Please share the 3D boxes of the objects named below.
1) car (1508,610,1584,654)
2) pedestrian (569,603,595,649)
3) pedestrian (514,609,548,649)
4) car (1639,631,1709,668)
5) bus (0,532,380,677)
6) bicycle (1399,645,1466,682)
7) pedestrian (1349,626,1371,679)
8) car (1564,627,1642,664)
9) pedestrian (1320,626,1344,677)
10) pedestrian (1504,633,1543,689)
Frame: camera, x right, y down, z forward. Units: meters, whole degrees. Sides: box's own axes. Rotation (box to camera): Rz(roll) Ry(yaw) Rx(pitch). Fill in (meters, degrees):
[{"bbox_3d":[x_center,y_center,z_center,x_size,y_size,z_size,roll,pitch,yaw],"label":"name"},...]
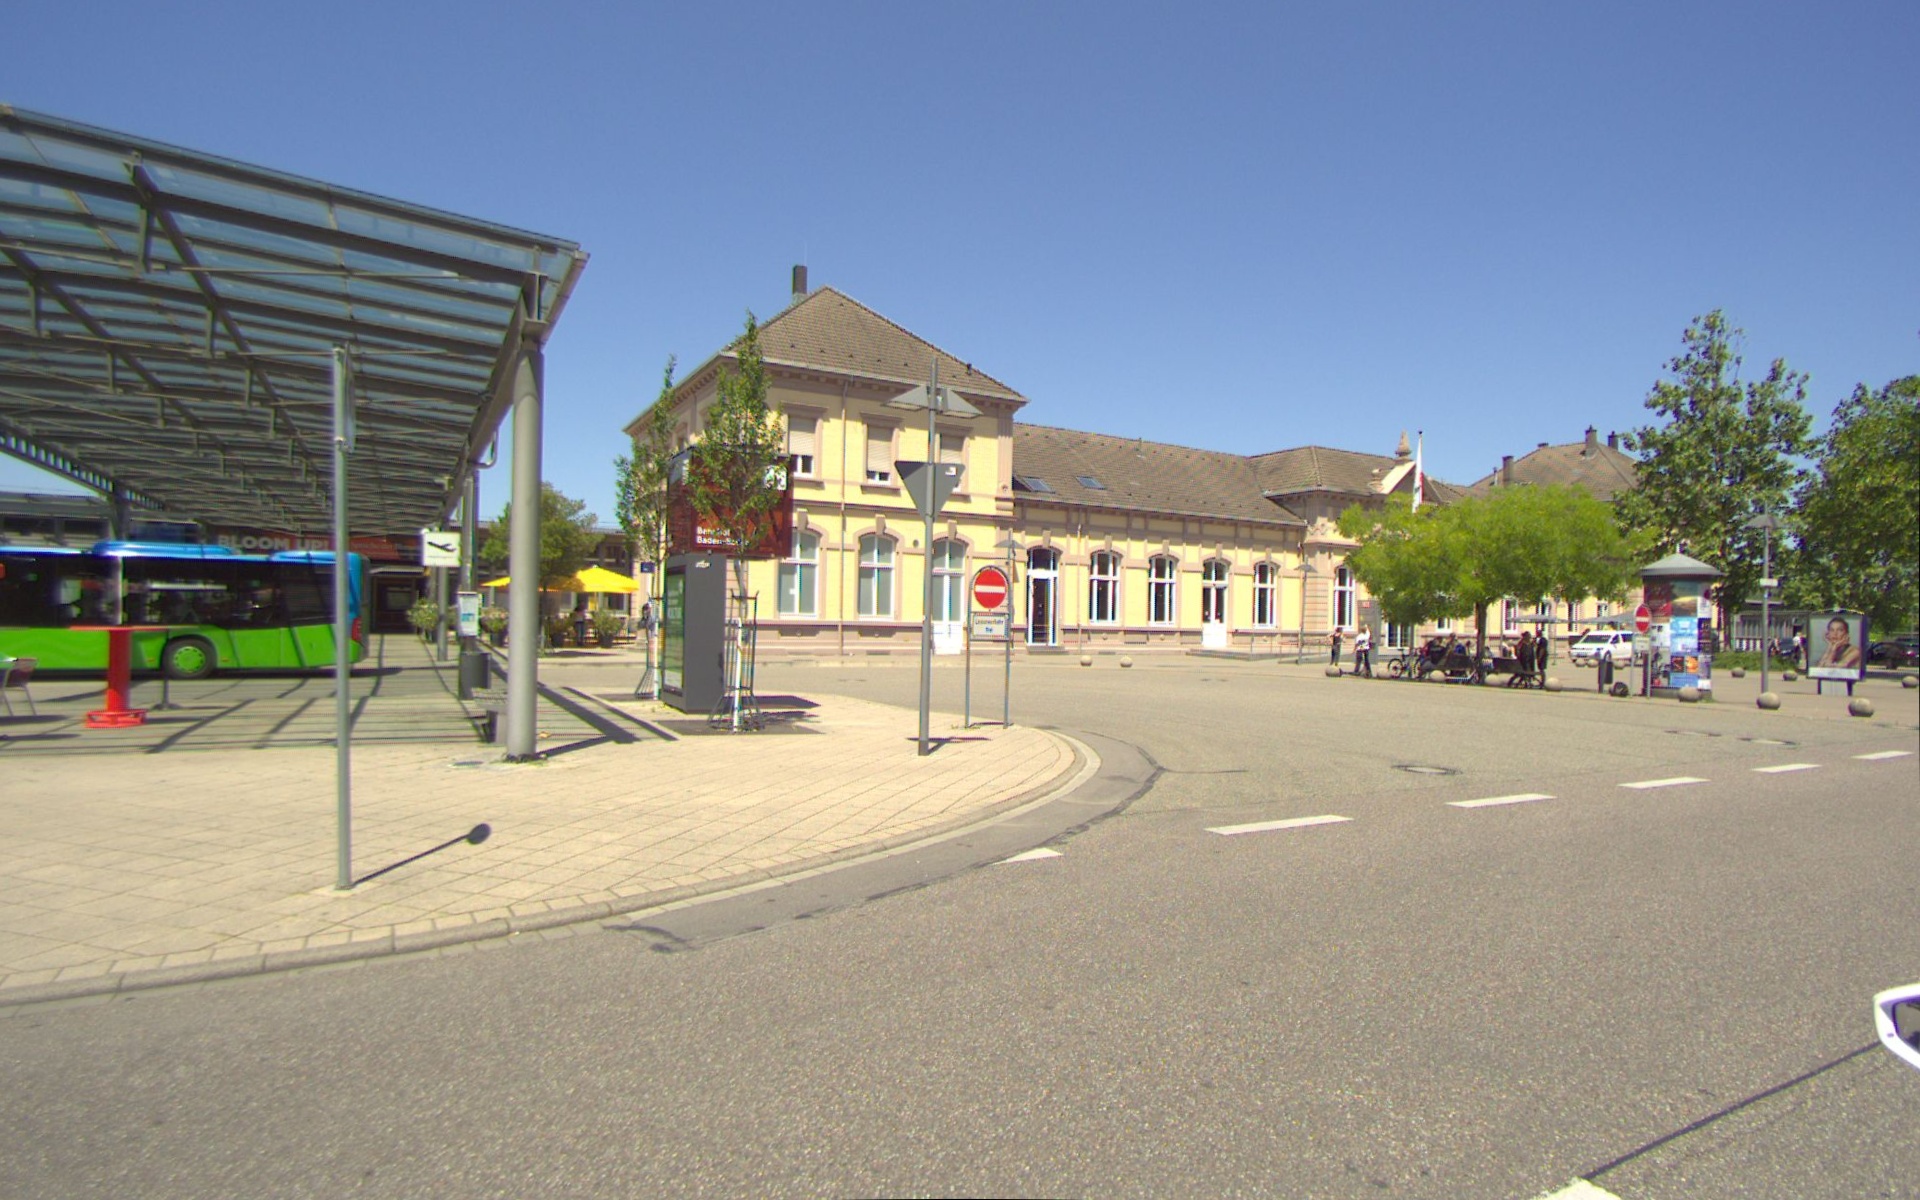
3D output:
[{"bbox_3d":[34.826,1.919,59.646,4.948,2.501,1.710,2,0,-31],"label":"car"},{"bbox_3d":[-14.215,0.982,37.806,0.772,1.708,0.659,0,0,-37],"label":"pedestrian"},{"bbox_3d":[-16.163,1.080,37.857,0.952,1.496,0.890,1,-1,-39],"label":"pedestrian"},{"bbox_3d":[42.155,2.881,59.299,3.953,2.040,1.984,1,-1,-30],"label":"car"},{"bbox_3d":[-21.796,0.097,22.221,15.318,3.077,2.857,1,-1,-28],"label":"bus"},{"bbox_3d":[14.426,1.936,30.692,1.770,1.044,0.487,1,-1,38],"label":"bicycle"},{"bbox_3d":[13.564,1.780,34.109,0.574,1.732,0.588,2,-2,14],"label":"pedestrian"},{"bbox_3d":[35.714,2.526,55.766,4.720,1.942,1.743,2,-2,-30],"label":"car"},{"bbox_3d":[12.677,1.749,34.236,0.644,1.695,0.632,2,-2,14],"label":"pedestrian"},{"bbox_3d":[17.434,1.876,31.076,0.708,1.681,0.761,3,-2,-13],"label":"pedestrian"}]
